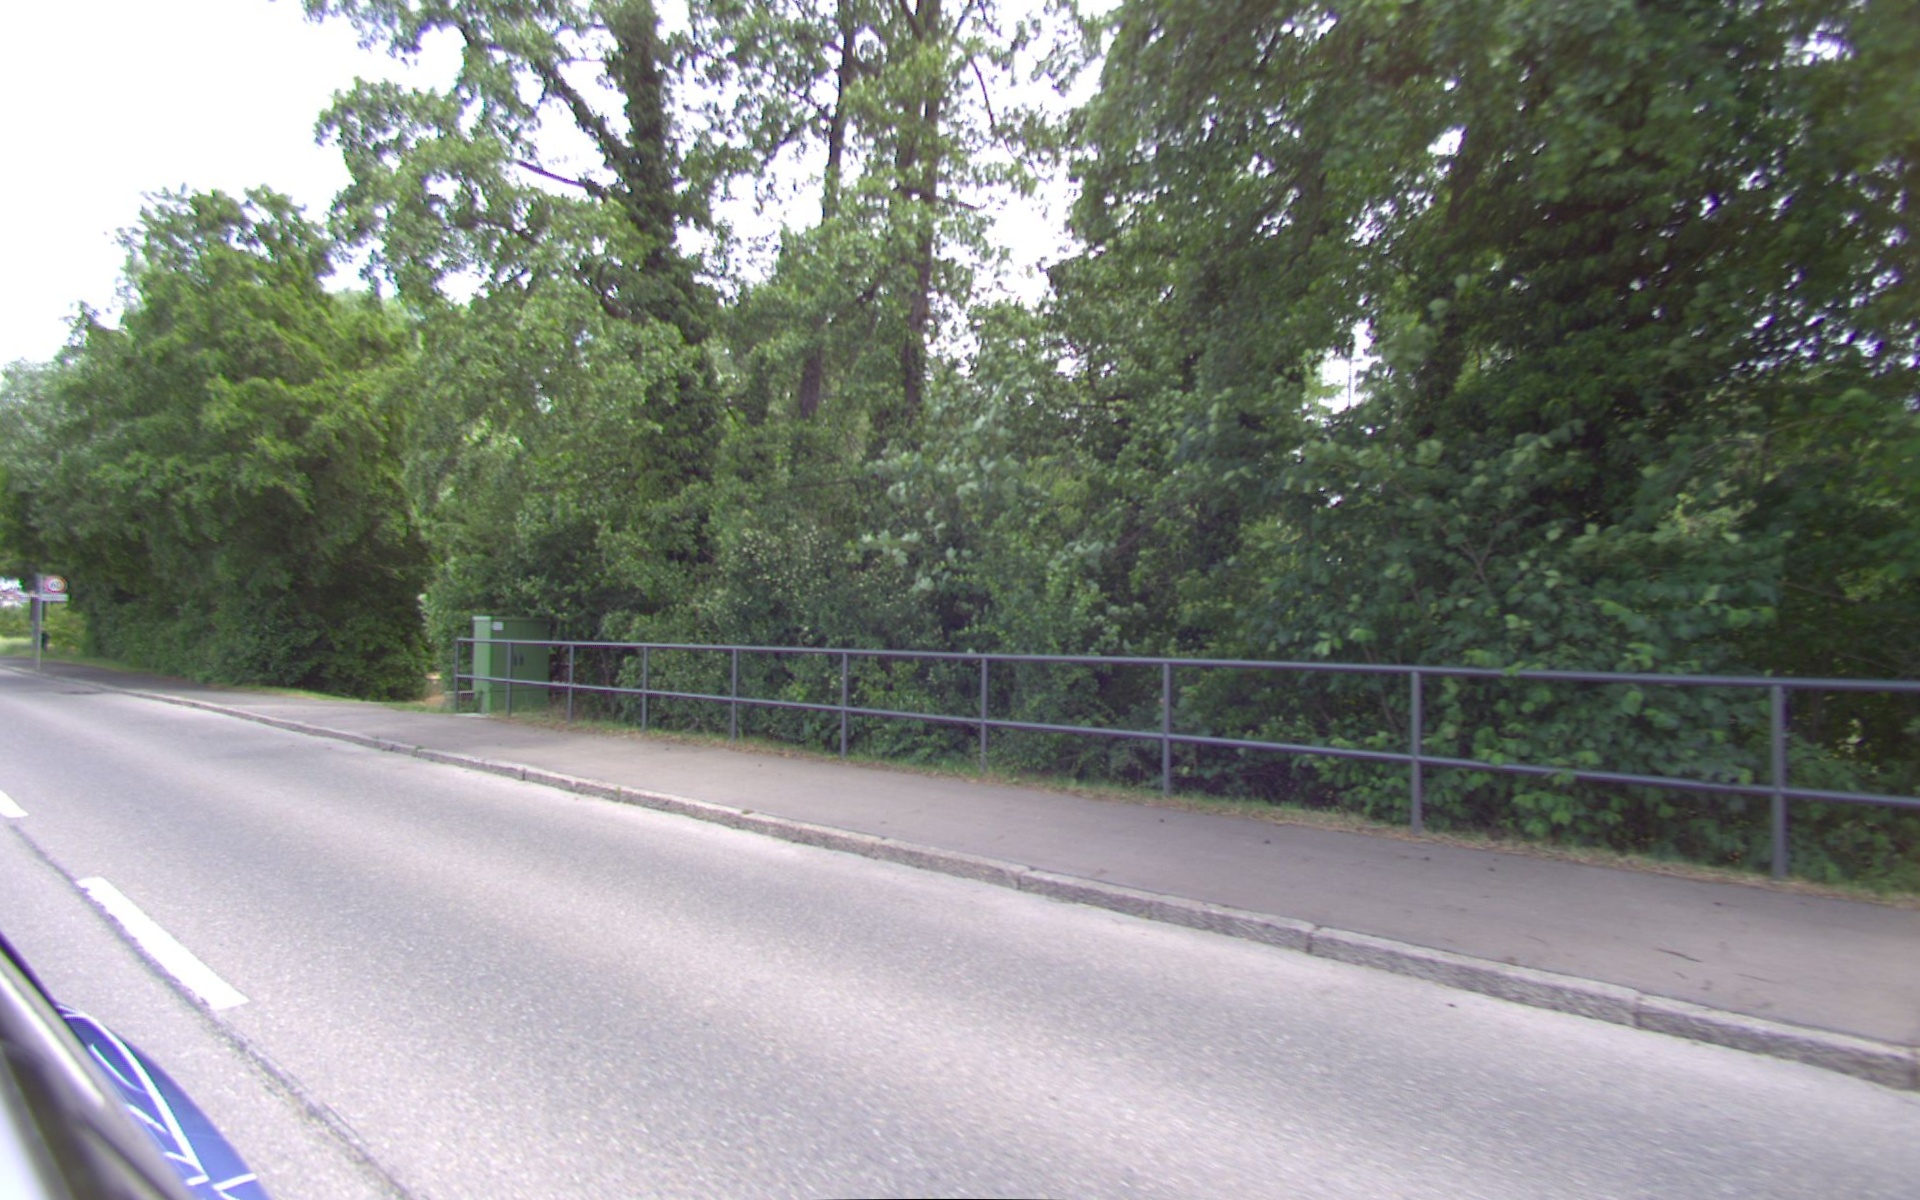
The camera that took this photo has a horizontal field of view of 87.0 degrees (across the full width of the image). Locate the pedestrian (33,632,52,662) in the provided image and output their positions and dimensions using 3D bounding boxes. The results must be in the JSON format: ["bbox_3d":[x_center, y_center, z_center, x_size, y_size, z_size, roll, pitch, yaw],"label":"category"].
[{"bbox_3d":[-50.986,2.618,56.236,0.695,1.606,0.708,1,-4,-38],"label":"pedestrian"}]
